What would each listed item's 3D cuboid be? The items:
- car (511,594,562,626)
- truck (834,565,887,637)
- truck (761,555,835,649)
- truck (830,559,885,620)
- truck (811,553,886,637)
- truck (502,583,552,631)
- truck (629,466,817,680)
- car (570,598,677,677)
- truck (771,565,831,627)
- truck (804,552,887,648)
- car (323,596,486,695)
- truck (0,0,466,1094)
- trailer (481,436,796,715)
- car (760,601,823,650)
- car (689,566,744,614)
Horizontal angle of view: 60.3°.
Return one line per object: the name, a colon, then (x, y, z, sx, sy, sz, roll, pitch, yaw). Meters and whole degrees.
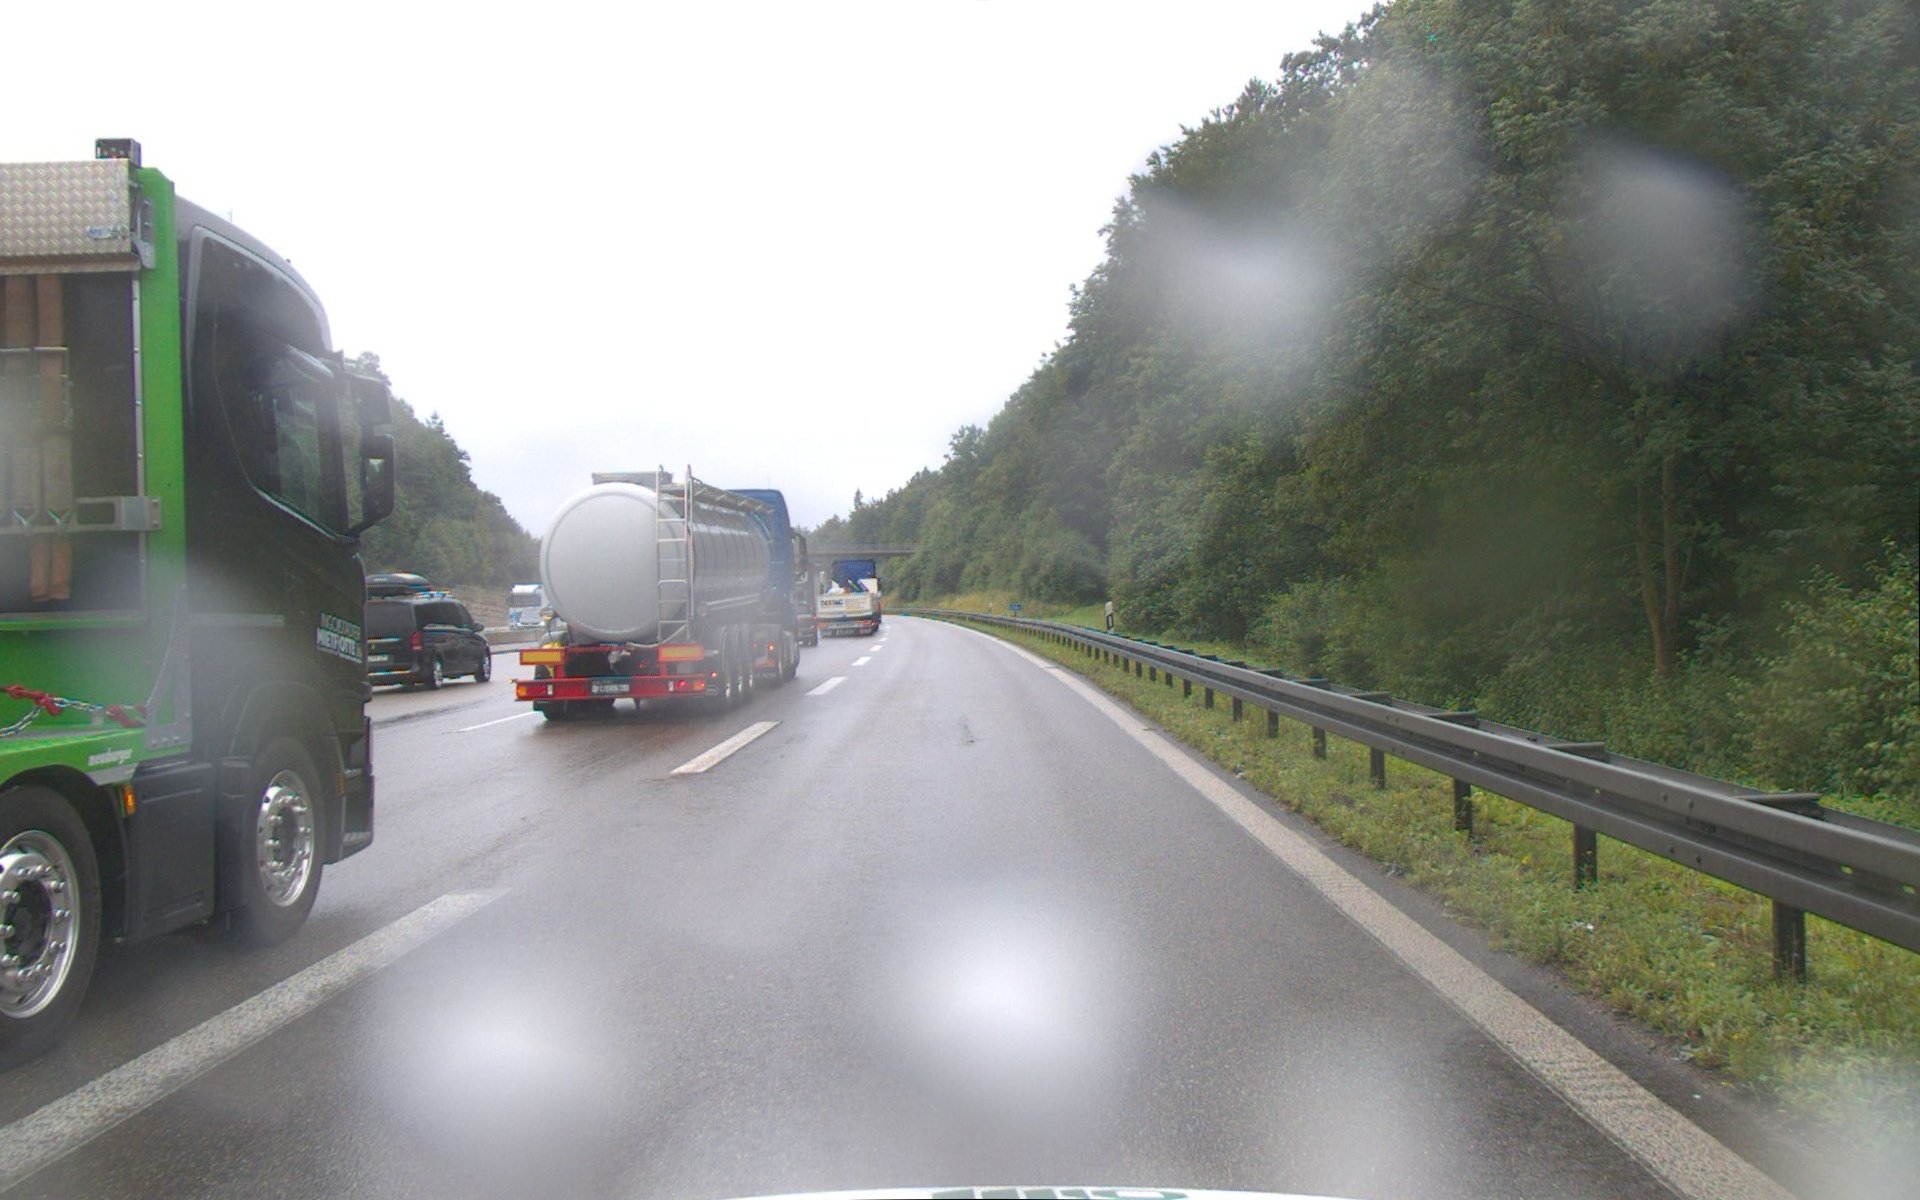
car: (-28.070, 0.717, 109.861, 2.010, 1.911, 5.246, 2, -2, 0)
truck: (-8.650, 0.184, 144.008, 4.250, 5.865, 9.723, 2, -2, -3)
truck: (-10.277, 0.285, 106.031, 3.678, 5.596, 10.169, 2, -2, -1)
truck: (-7.450, -0.672, 122.194, 3.679, 4.040, 11.052, 2, -2, -2)
truck: (-6.292, -0.167, 95.221, 3.435, 4.343, 10.601, 2, -2, 0)
truck: (-37.453, 0.613, 143.230, 2.400, 4.017, 7.237, 0, 0, -1)
truck: (-4.458, -0.479, 32.114, 2.818, 3.758, 5.056, -1, 0, 0)
car: (-8.097, 0.887, 40.106, 1.782, 1.798, 3.999, -1, 0, 0)
truck: (-11.676, -0.212, 122.386, 3.504, 4.167, 10.876, -1, -2, -1)
truck: (-5.346, -0.001, 79.232, 3.528, 4.177, 11.553, -2, 0, -3)
car: (-11.250, 0.879, 33.809, 1.953, 1.830, 4.153, -2, 0, -1)
truck: (-4.233, -0.371, 3.049, 2.773, 3.651, 11.798, -2, 0, 1)
trailer: (-4.440, -0.298, 25.295, 2.815, 3.346, 10.077, -1, 0, 0)
car: (-6.139, 0.948, 60.595, 1.953, 1.665, 3.998, 2, -2, -1)
car: (-10.488, -0.402, 71.470, 1.760, 1.870, 3.999, 2, -2, -1)
